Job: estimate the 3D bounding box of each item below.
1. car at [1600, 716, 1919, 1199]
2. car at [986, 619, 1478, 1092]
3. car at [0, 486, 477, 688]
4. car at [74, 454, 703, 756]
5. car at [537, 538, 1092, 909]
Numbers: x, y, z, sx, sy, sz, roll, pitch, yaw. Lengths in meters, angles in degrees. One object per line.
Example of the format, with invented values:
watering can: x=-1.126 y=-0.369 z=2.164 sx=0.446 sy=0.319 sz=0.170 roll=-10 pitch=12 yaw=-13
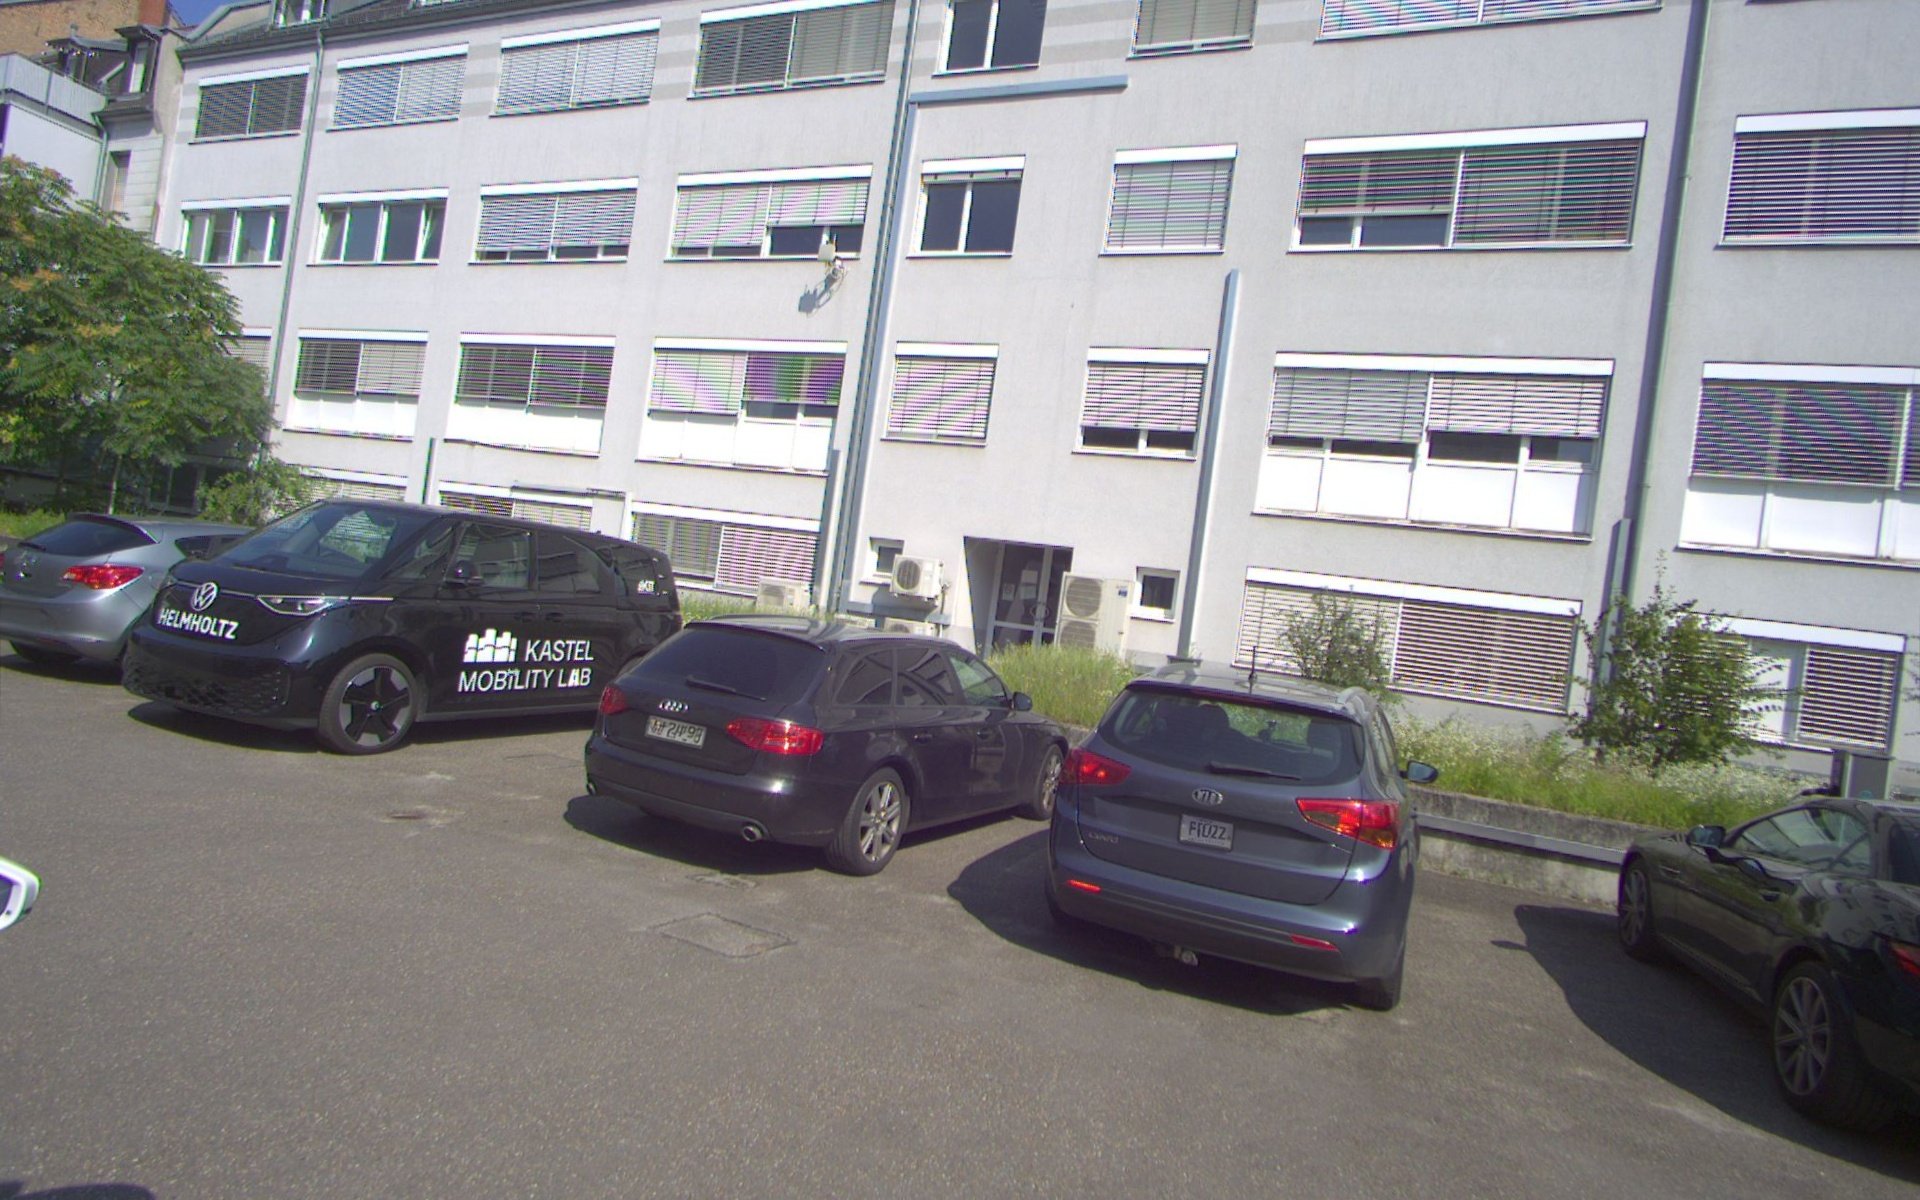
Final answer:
car: x=4.735 y=1.543 z=4.797 sx=1.862 sy=1.607 sz=3.815 roll=7 pitch=-2 yaw=20
car: x=1.833 y=1.172 z=6.018 sx=1.845 sy=1.607 sz=3.876 roll=7 pitch=-2 yaw=24
car: x=-7.068 y=-0.016 z=9.914 sx=1.742 sy=1.499 sz=3.947 roll=7 pitch=-2 yaw=20
car: x=-4.437 y=0.148 z=8.807 sx=1.848 sy=1.815 sz=4.518 roll=7 pitch=-2 yaw=20
car: x=-0.642 y=0.790 z=7.219 sx=1.740 sy=1.710 sz=4.130 roll=7 pitch=-2 yaw=26
